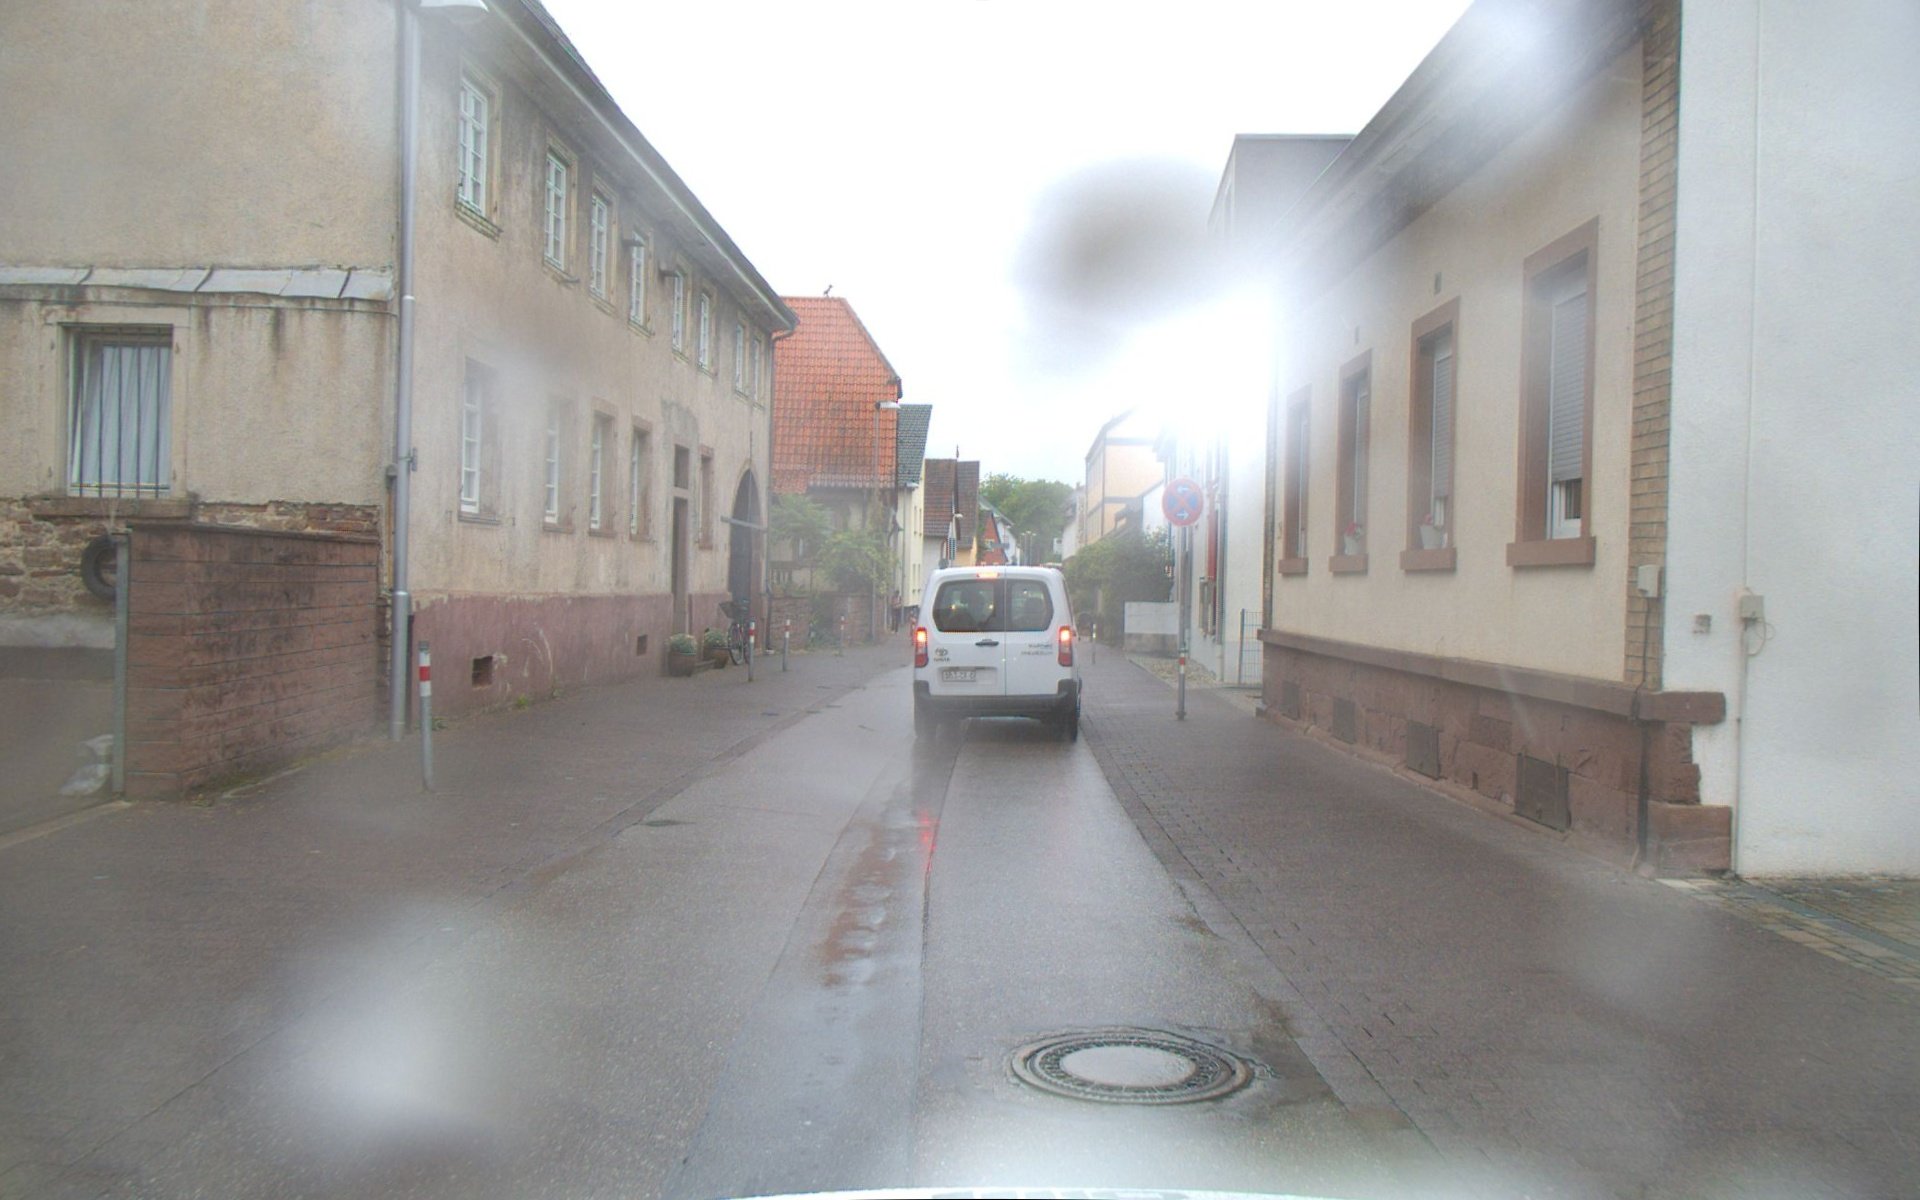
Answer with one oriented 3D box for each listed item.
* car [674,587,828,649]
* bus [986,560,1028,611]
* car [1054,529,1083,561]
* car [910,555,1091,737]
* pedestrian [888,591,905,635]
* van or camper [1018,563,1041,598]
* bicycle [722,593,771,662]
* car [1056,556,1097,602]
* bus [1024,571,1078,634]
[{"bbox_3d":[-5.104,0.417,40.641,3.453,1.400,1.595,1,0,5],"label":"car"},{"bbox_3d":[3.456,-0.963,119.196,2.735,3.387,8.180,3,0,2],"label":"bus"},{"bbox_3d":[7.866,-3.973,119.627,1.952,2.049,4.002,2,0,4],"label":"car"},{"bbox_3d":[0.568,0.483,18.917,1.757,1.850,4.104,0,0,6],"label":"car"},{"bbox_3d":[-2.275,0.448,58.987,0.556,1.557,0.568,0,0,-7],"label":"pedestrian"},{"bbox_3d":[6.277,-1.750,148.502,1.797,2.976,5.365,2,0,4],"label":"van or camper"},{"bbox_3d":[-3.881,0.500,30.202,0.473,1.200,1.836,2,0,4],"label":"bicycle"},{"bbox_3d":[5.635,-0.992,80.391,1.789,2.049,3.695,2,0,2],"label":"car"},{"bbox_3d":[5.073,0.156,92.825,2.735,3.235,8.180,3,0,2],"label":"bus"}]
